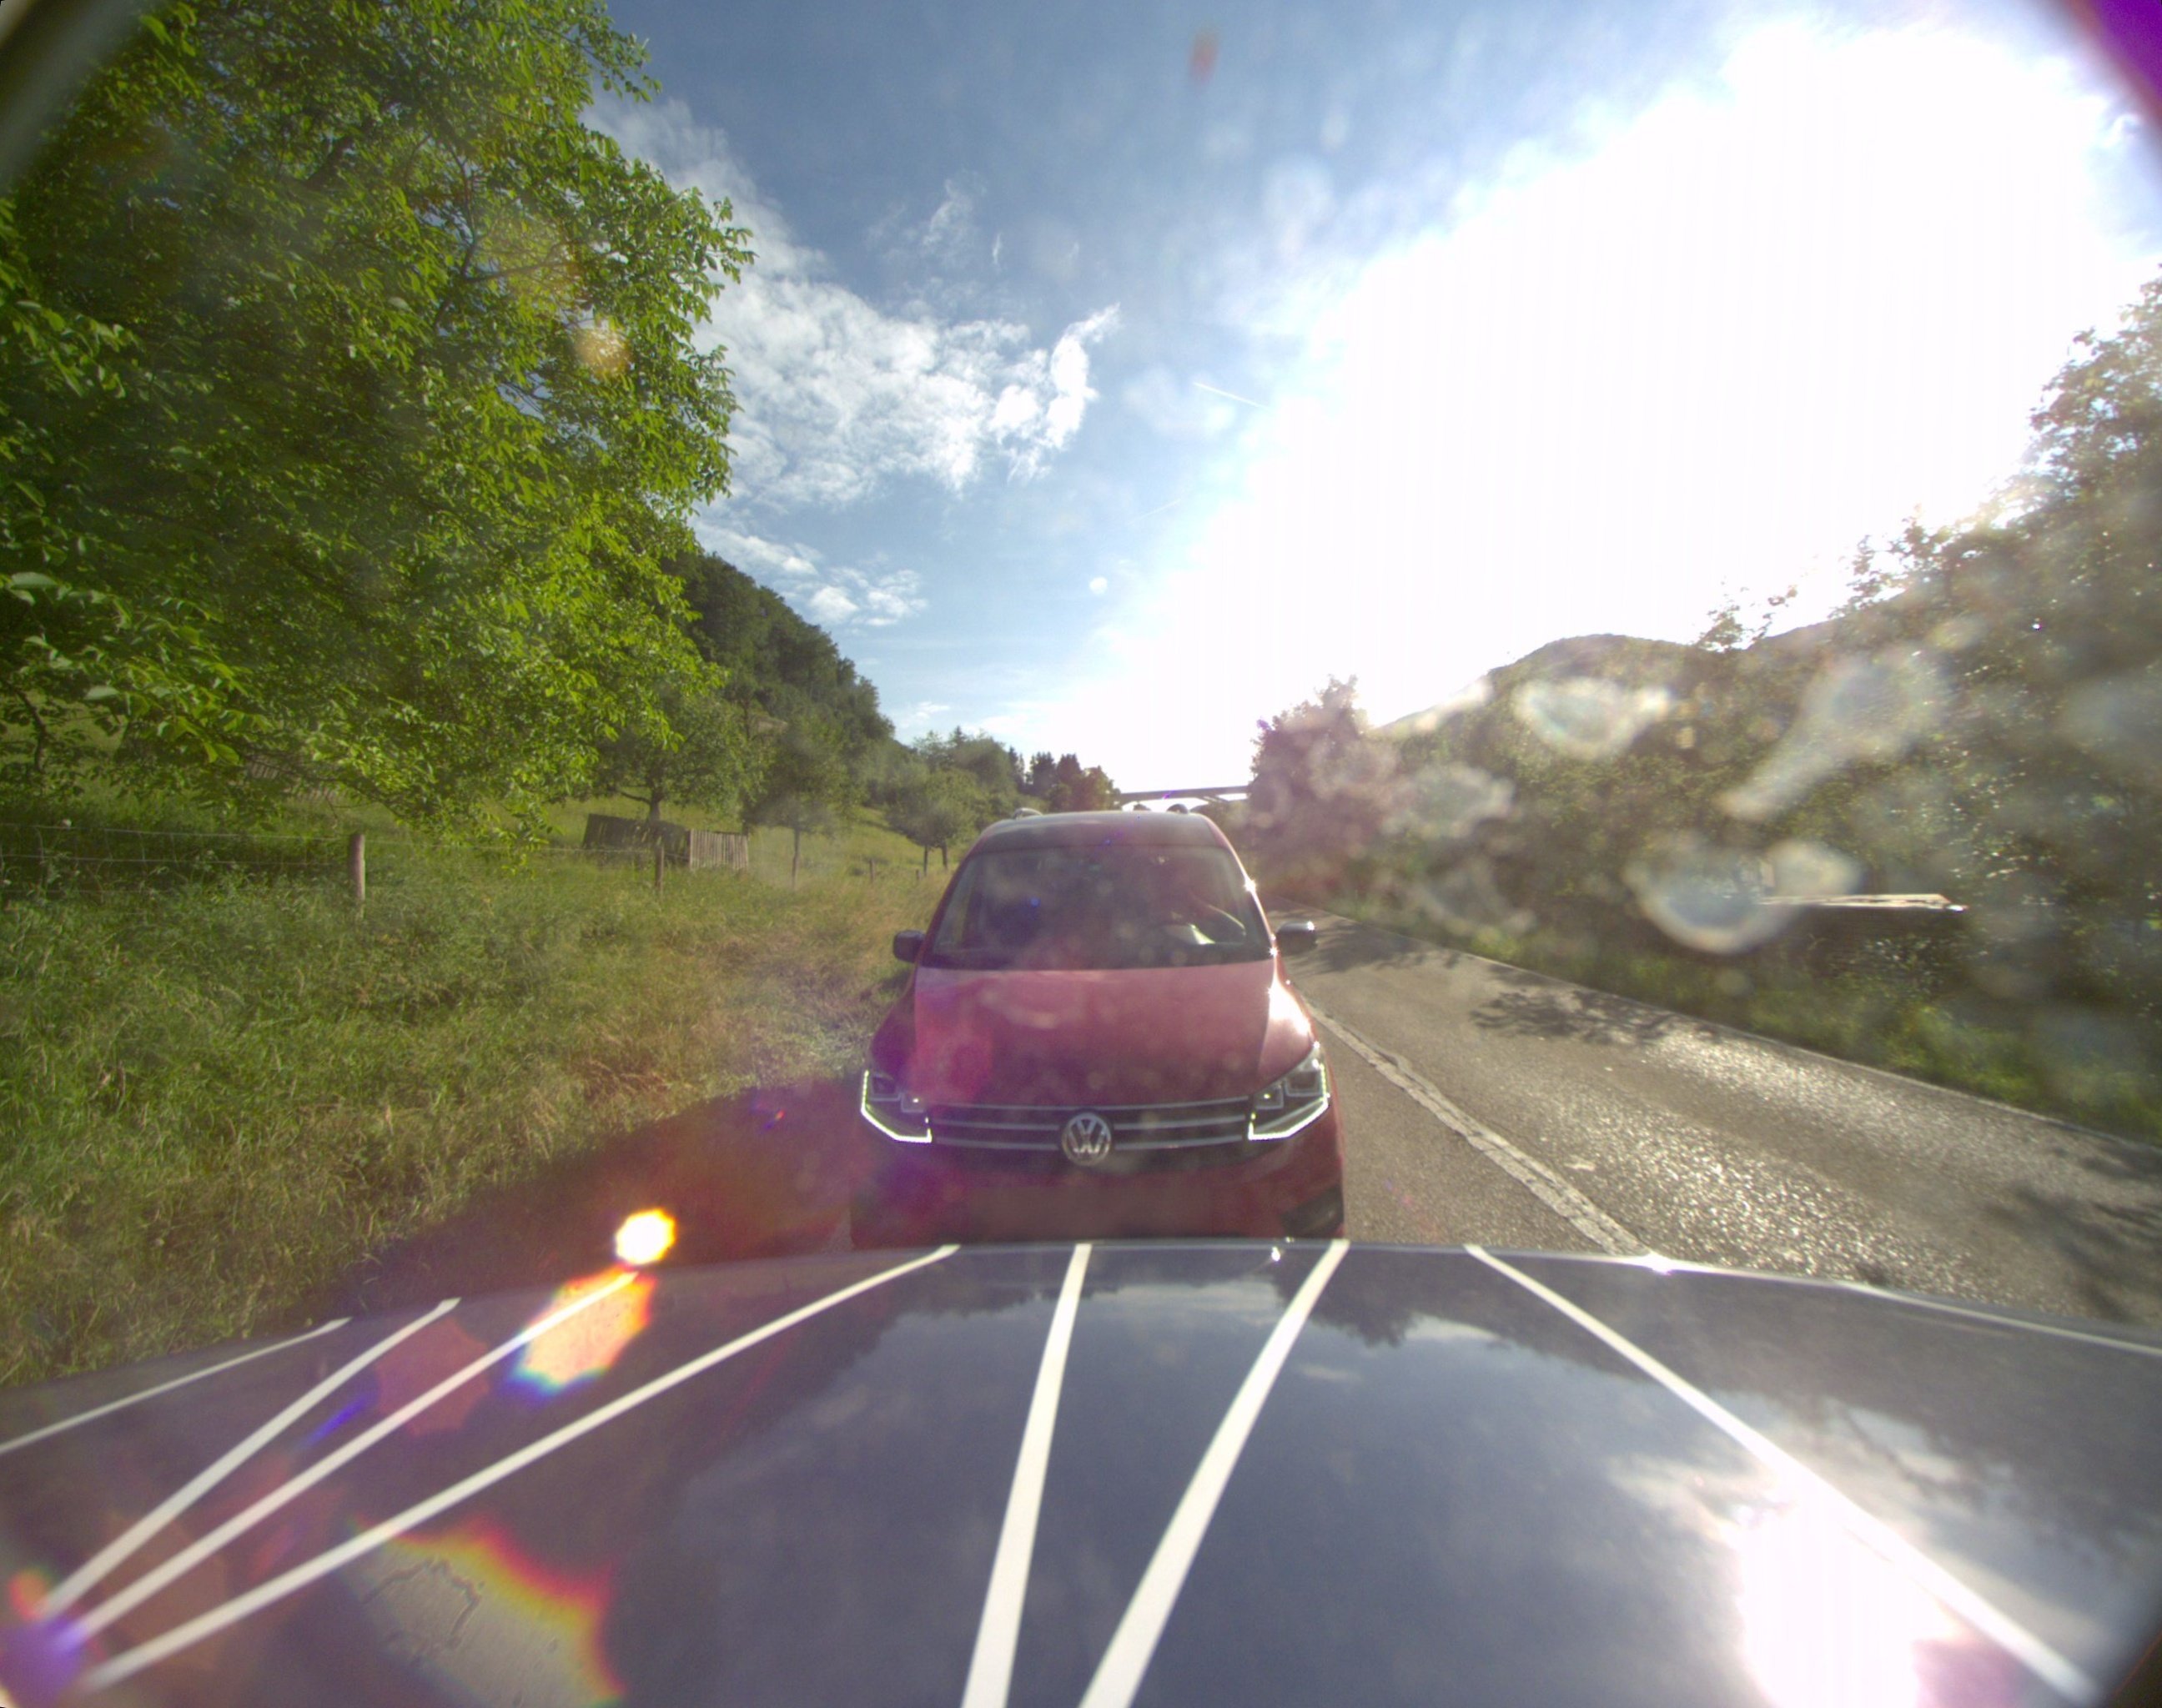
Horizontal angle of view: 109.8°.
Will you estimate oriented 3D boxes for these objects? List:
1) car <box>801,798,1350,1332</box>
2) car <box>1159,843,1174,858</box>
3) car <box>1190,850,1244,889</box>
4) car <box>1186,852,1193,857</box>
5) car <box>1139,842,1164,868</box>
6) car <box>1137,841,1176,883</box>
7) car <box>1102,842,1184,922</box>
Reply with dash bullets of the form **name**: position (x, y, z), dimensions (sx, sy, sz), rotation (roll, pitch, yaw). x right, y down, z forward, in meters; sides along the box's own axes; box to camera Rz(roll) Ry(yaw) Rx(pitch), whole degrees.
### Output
- **car**: position (0.116, 0.693, 4.730), dimensions (1.759, 1.745, 4.430), rotation (-2, 1, 4)
- **car**: position (12.135, -0.560, 107.818), dimensions (1.997, 2.002, 4.001), rotation (-2, 1, 6)
- **car**: position (5.624, 0.593, 31.763), dimensions (1.708, 1.422, 4.051), rotation (-2, 1, 3)
- **car**: position (31.583, 0.082, 221.401), dimensions (1.597, 1.346, 4.204), rotation (-2, 1, 4)
- **car**: position (5.992, 0.057, 64.847), dimensions (1.998, 2.002, 4.000), rotation (-2, 1, 4)
- **car**: position (3.715, 0.361, 37.719), dimensions (1.758, 1.926, 4.001), rotation (-2, 1, 5)
- **car**: position (1.539, 0.601, 19.004), dimensions (1.758, 1.745, 4.001), rotation (-2, 1, 5)
